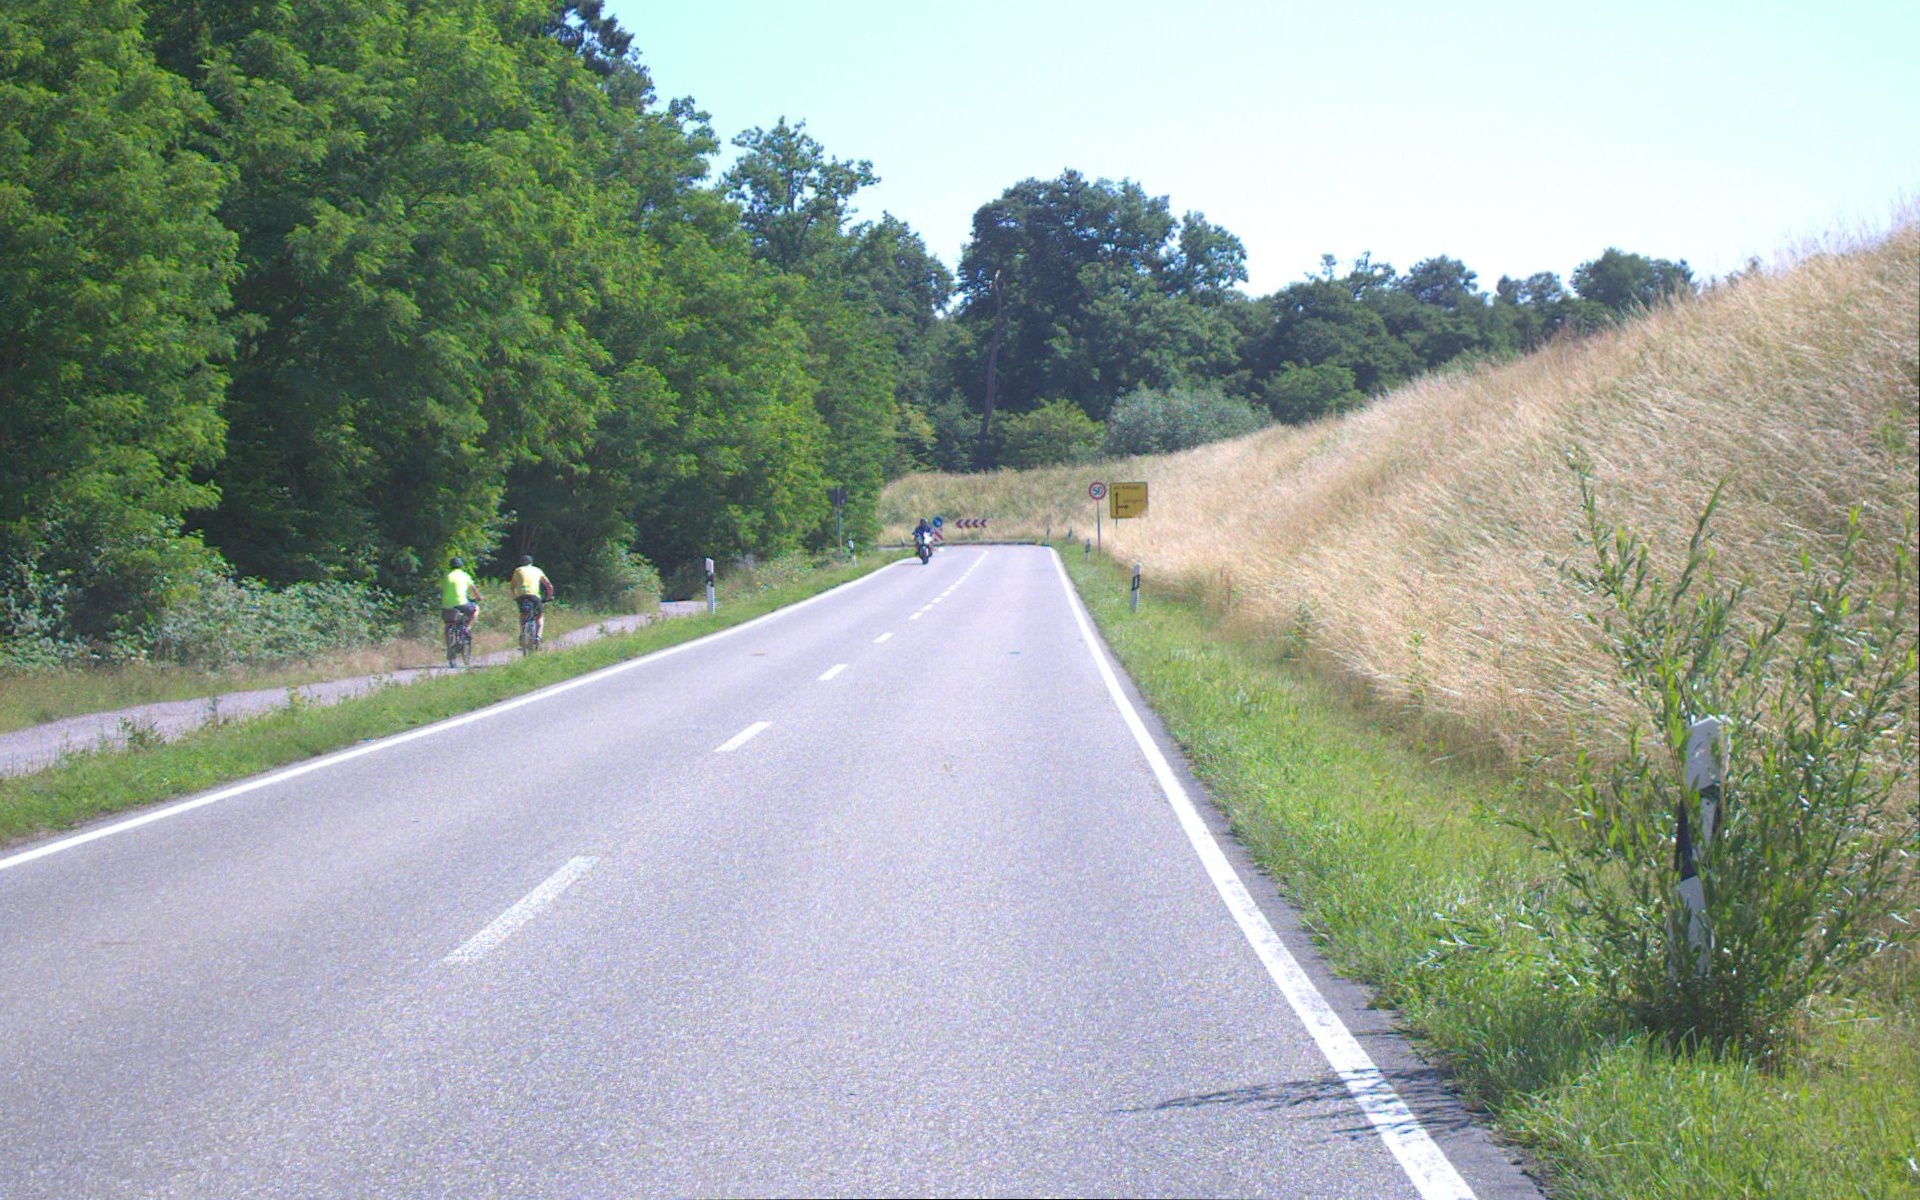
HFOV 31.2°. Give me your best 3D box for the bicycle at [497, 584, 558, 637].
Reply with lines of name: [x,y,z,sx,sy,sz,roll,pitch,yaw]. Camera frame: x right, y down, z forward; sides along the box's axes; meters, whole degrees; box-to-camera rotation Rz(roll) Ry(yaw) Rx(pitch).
bicycle: [-6.949,0.164,55.322,0.640,0.785,2.137,-2,1,1]

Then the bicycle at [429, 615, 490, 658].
bicycle: [-8.099,0.586,55.694,0.619,0.679,2.136,1,0,1]

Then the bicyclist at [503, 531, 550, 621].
bicyclist: [-6.971,-0.386,55.294,0.605,1.410,0.702,-2,1,1]

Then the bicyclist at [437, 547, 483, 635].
bicyclist: [-8.104,-0.137,55.715,0.605,1.411,0.702,1,-1,1]
